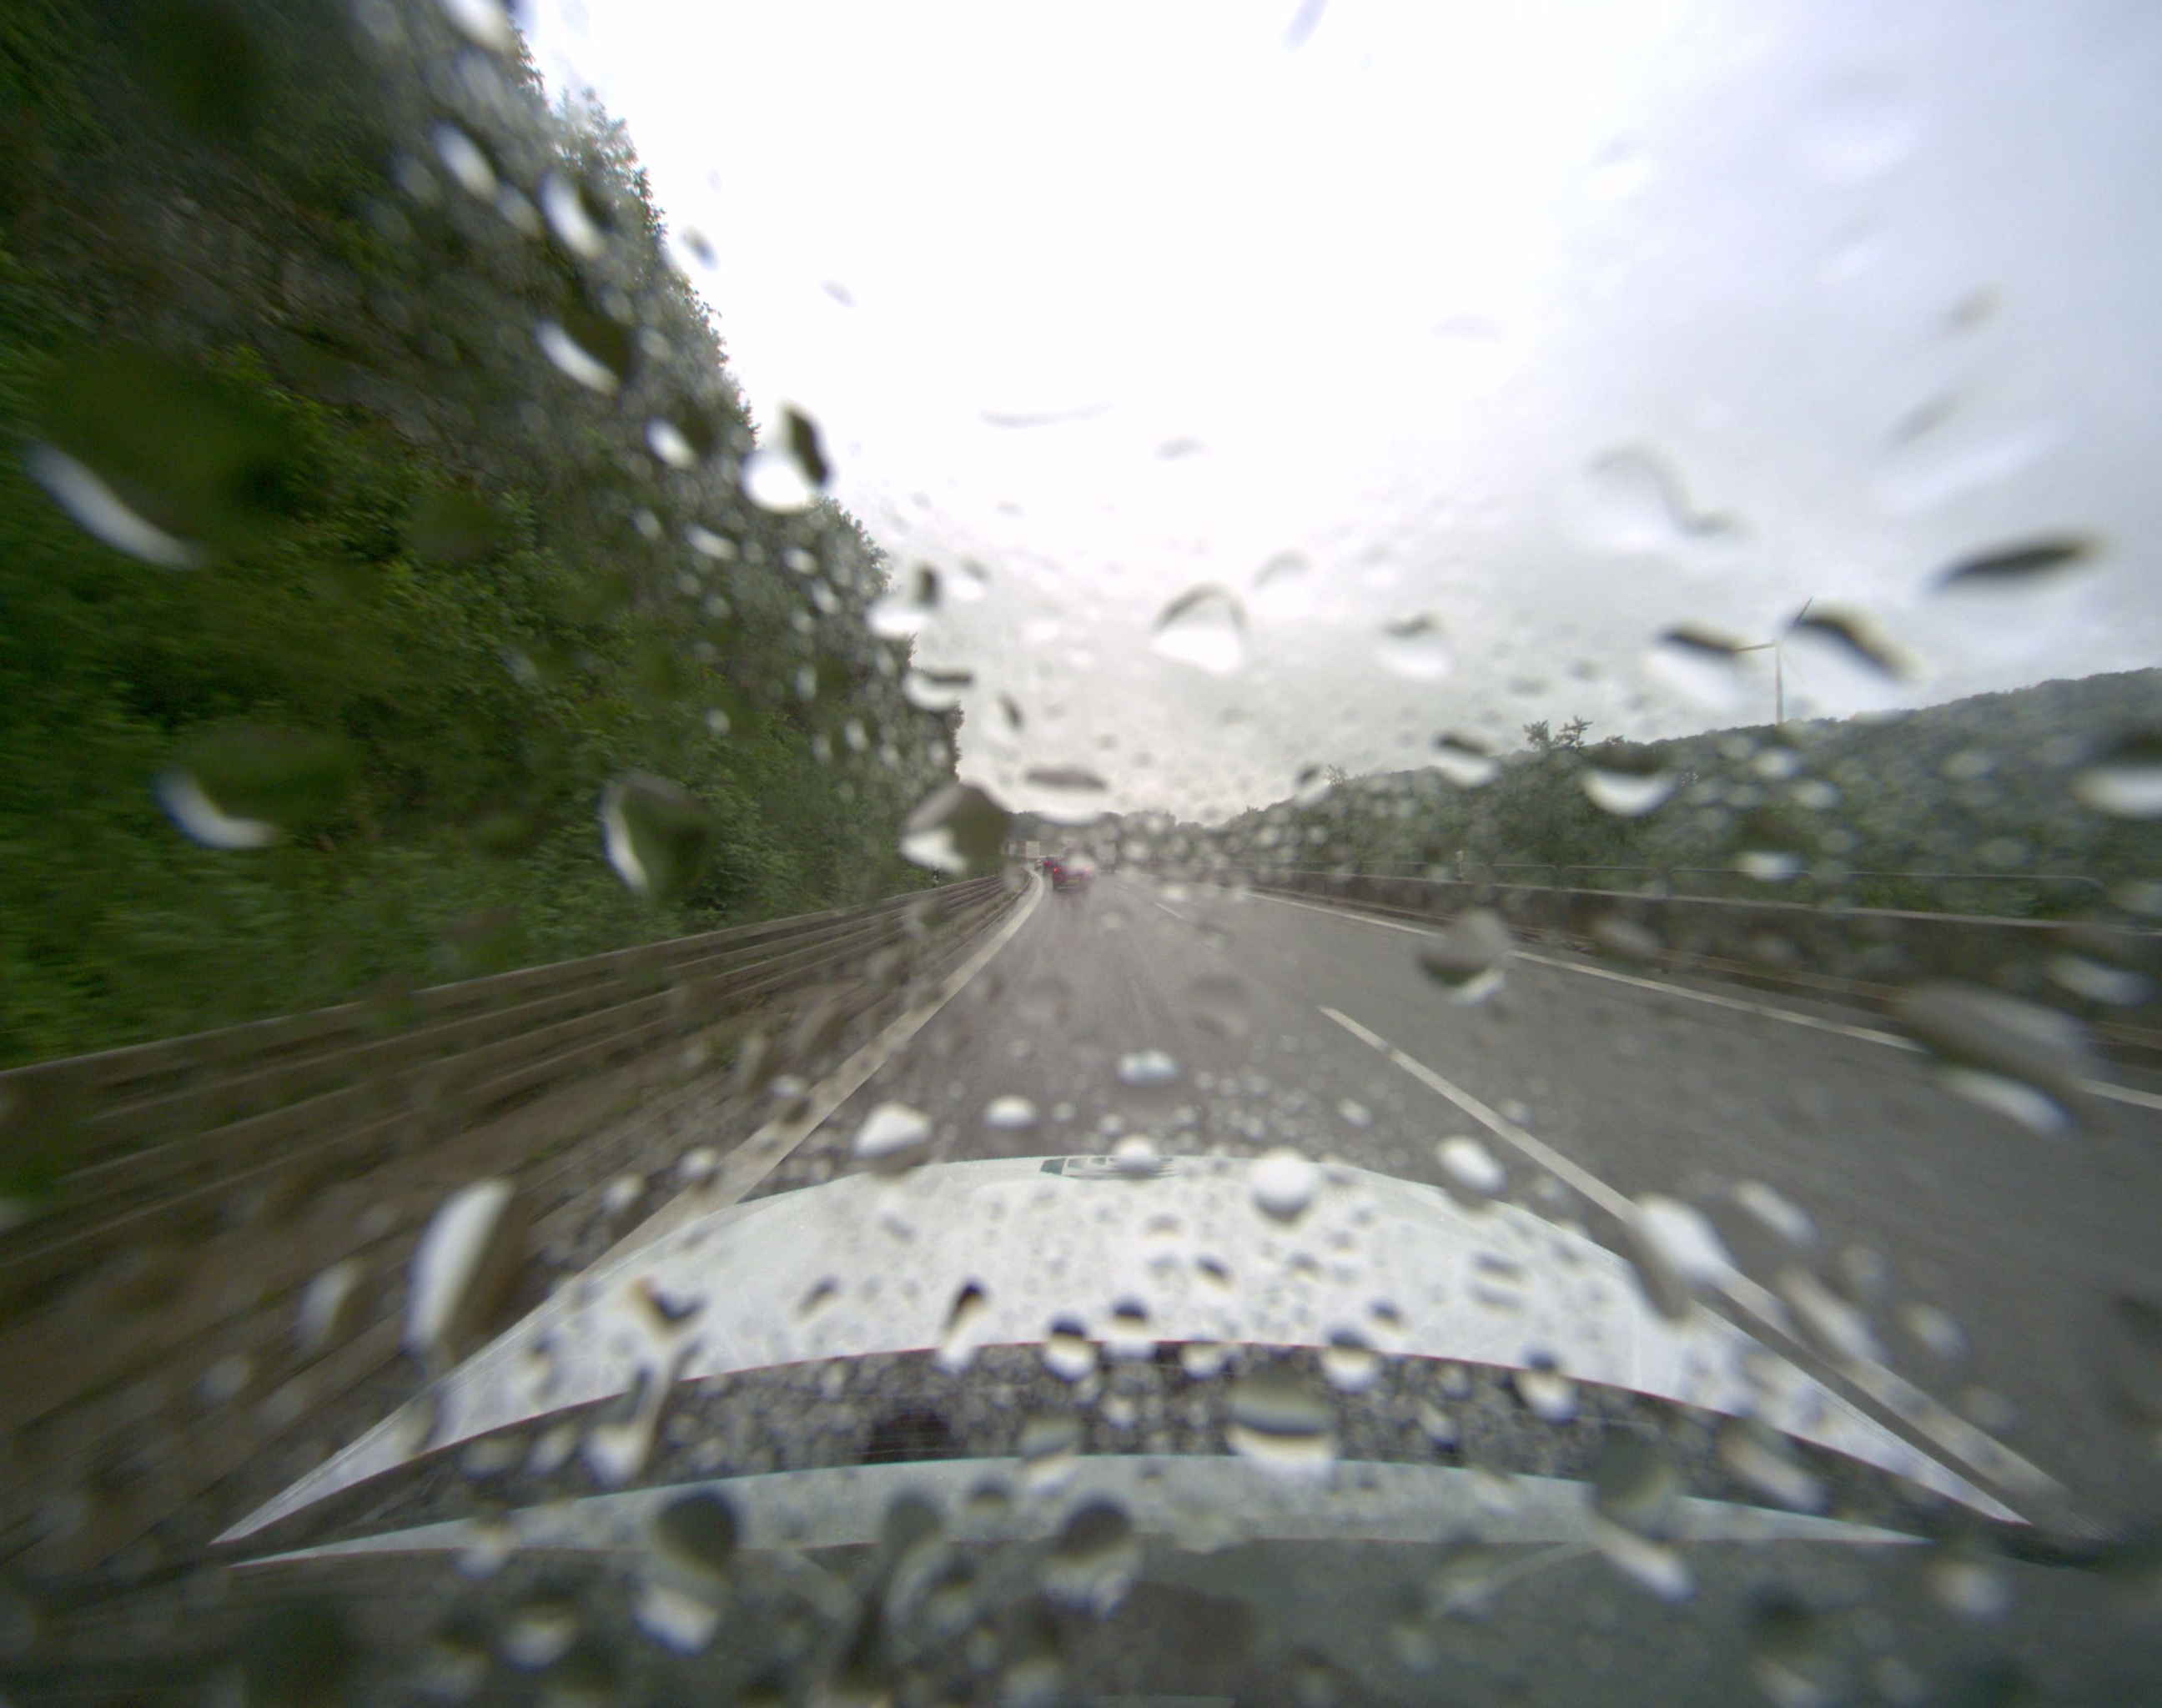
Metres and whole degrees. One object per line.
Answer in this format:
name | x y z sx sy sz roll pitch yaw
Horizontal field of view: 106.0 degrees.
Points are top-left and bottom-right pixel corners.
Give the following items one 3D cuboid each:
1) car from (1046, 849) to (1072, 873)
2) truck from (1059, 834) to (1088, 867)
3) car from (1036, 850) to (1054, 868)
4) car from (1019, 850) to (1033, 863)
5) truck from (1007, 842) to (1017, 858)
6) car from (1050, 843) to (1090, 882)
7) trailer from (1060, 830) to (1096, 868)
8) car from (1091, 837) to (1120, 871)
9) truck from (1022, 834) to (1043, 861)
car | -1.608 0.544 60.490 1.818 1.696 3.997 0 -1 -1
truck | -1.019 -0.438 102.462 3.213 3.978 5.430 2 -1 -4
car | -3.745 0.547 83.640 1.713 1.817 3.887 0 -1 -4
car | -8.448 0.367 124.859 1.990 2.014 3.993 0 -1 -5
truck | -15.733 -0.913 185.890 2.103 3.420 6.206 0 -1 -7
car | -0.506 0.376 37.632 1.753 1.684 3.998 0 -1 -1
trailer | -0.500 -0.485 95.121 3.212 3.999 13.503 2 0 -4
car | 2.167 0.065 73.403 2.199 2.794 7.379 3 -1 -1
truck | -8.966 -1.135 149.805 3.222 4.682 8.274 0 -1 -9
